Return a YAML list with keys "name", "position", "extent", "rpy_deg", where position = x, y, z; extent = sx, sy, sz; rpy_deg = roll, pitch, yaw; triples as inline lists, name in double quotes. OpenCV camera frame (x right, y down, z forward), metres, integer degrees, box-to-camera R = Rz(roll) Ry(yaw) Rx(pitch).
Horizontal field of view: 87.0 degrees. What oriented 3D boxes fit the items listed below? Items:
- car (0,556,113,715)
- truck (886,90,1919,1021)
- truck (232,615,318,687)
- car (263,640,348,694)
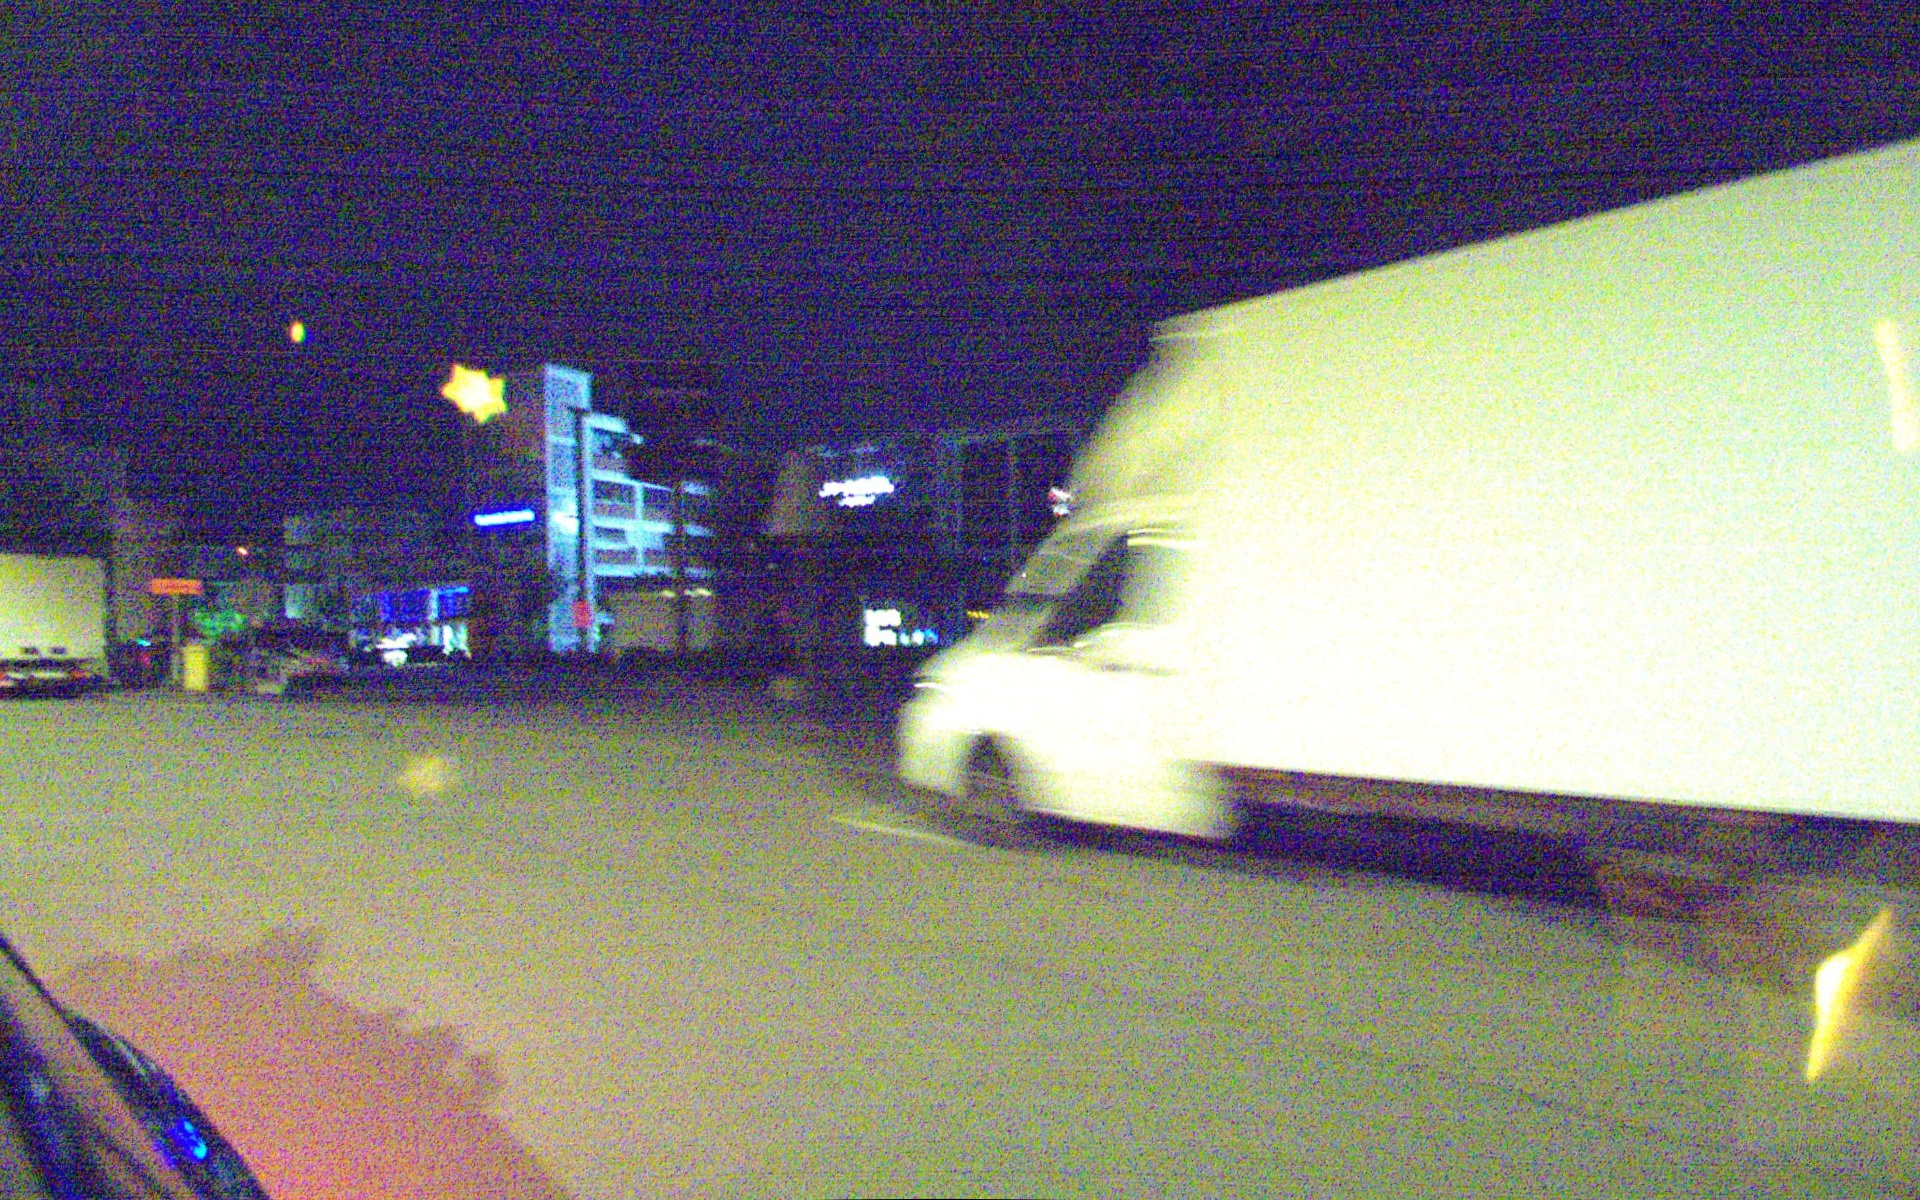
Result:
- name: "car"
  position: [-22.526, 0.810, 23.072]
  extent: [7.197, 3.268, 2.367]
  rpy_deg: [-1, -2, 28]
- name: "truck"
  position: [2.967, -0.114, 5.485]
  extent: [7.229, 3.268, 2.348]
  rpy_deg: [-2, -2, 42]
- name: "truck"
  position: [-27.441, 1.987, 40.412]
  extent: [2.106, 2.633, 7.110]
  rpy_deg: [2, -3, -40]
- name: "car"
  position: [-22.044, 2.198, 34.032]
  extent: [1.834, 1.652, 4.005]
  rpy_deg: [2, -3, -41]
